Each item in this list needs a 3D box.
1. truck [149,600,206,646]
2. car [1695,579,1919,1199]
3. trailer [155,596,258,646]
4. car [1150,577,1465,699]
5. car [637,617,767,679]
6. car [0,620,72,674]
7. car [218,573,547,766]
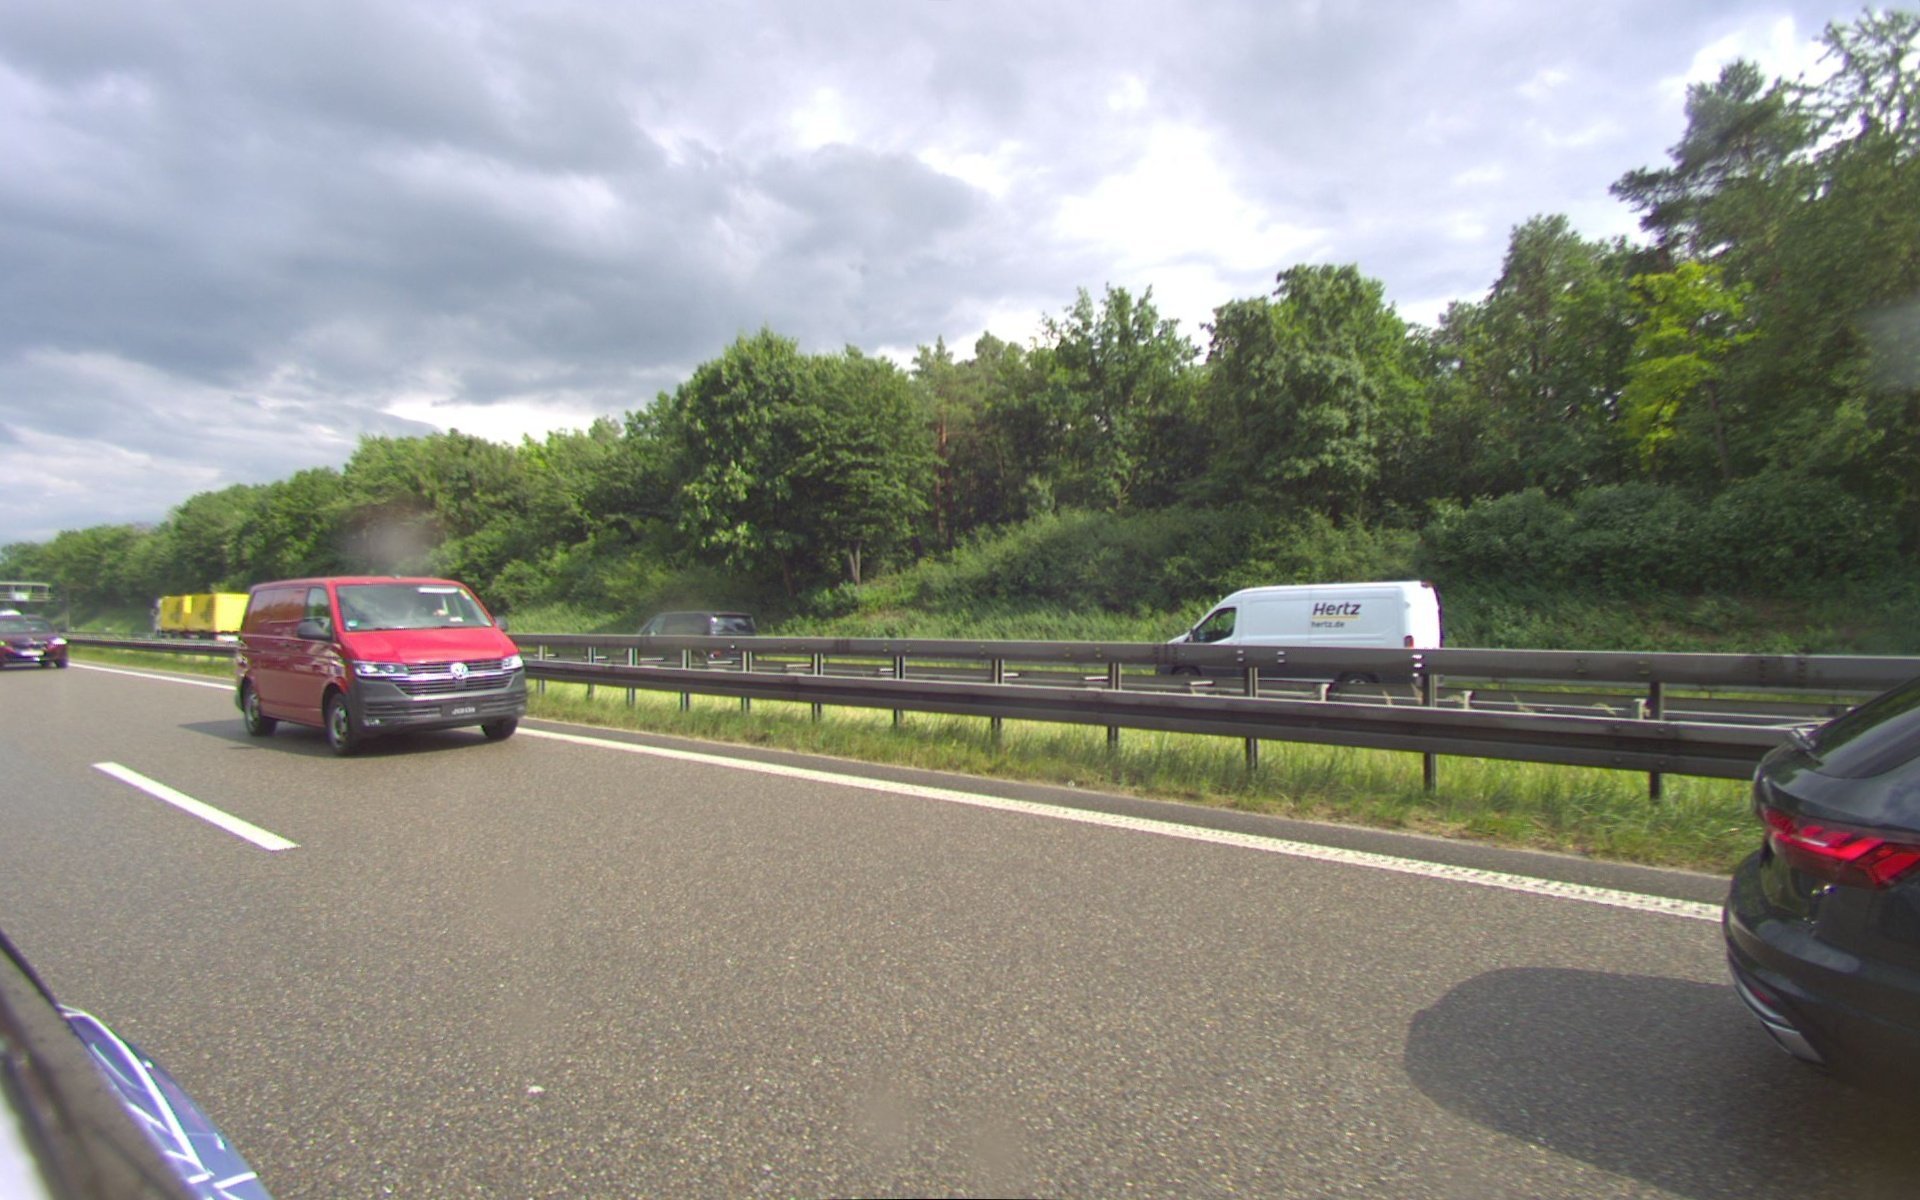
[{"bbox_3d":[-66.017,1.905,85.370,5.326,3.692,2.695,-1,0,40],"label":"truck"},{"bbox_3d":[4.215,0.631,1.586,4.835,1.429,1.776,-1,0,41],"label":"car"},{"bbox_3d":[-60.085,1.645,80.394,16.662,3.672,2.695,-1,0,40],"label":"trailer"},{"bbox_3d":[7.232,0.733,21.581,5.976,2.266,2.122,-1,0,41],"label":"car"},{"bbox_3d":[-7.589,1.345,29.646,3.998,1.646,1.729,-1,0,41],"label":"car"},{"bbox_3d":[-29.226,1.410,31.284,4.835,1.508,1.983,-1,0,40],"label":"car"},{"bbox_3d":[-7.072,0.701,12.144,4.835,1.880,1.902,-1,0,40],"label":"car"}]
